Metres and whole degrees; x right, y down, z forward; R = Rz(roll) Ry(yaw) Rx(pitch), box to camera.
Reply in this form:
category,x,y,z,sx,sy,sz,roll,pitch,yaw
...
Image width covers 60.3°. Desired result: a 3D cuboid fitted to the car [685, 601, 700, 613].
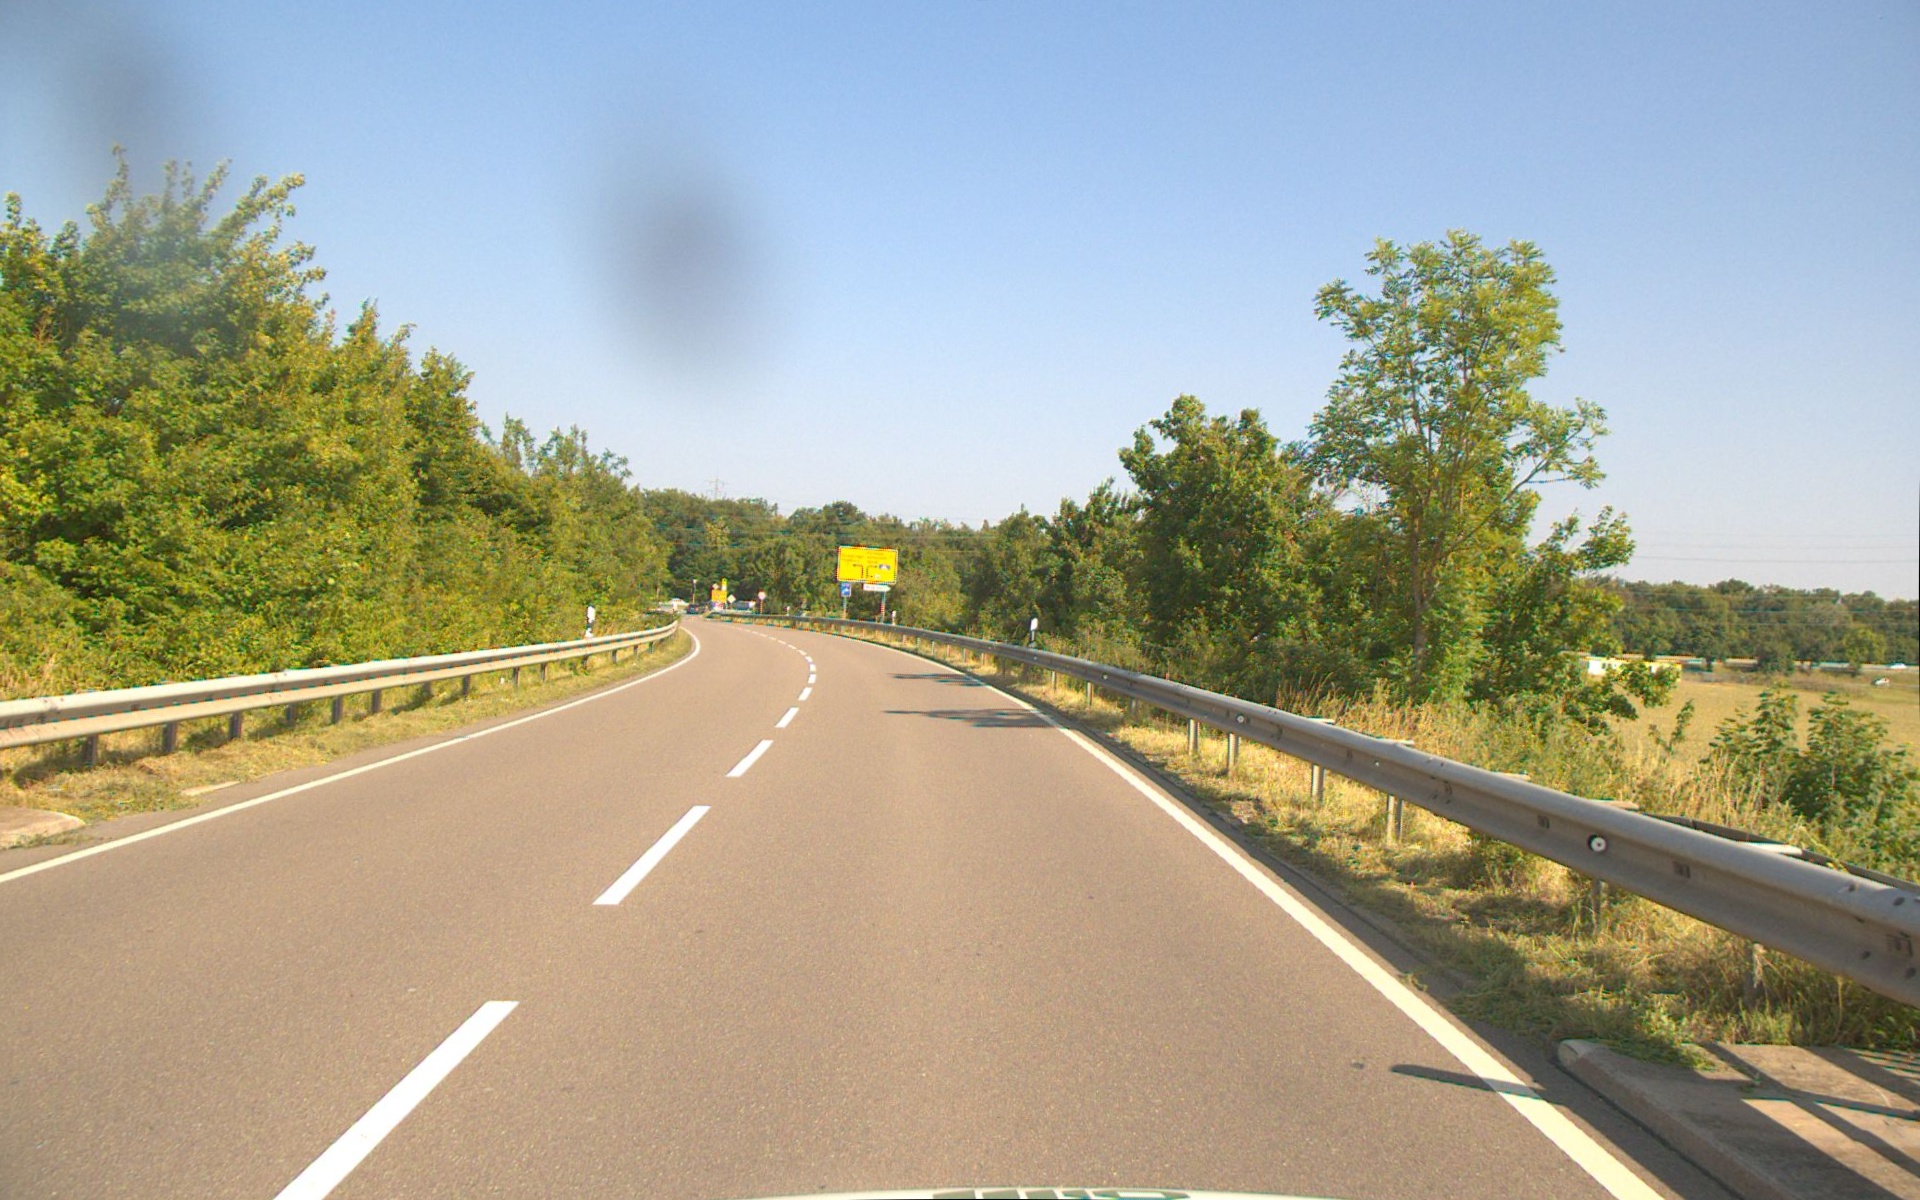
category,x,y,z,sx,sy,sz,roll,pitch,yaw
car,-37.837,1.003,233.993,1.766,1.422,3.992,-5,0,-8

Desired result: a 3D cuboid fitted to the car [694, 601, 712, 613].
category,x,y,z,sx,sy,sz,roll,pitch,yaw
car,-37.479,1.049,241.368,1.762,1.527,4.002,3,0,4
